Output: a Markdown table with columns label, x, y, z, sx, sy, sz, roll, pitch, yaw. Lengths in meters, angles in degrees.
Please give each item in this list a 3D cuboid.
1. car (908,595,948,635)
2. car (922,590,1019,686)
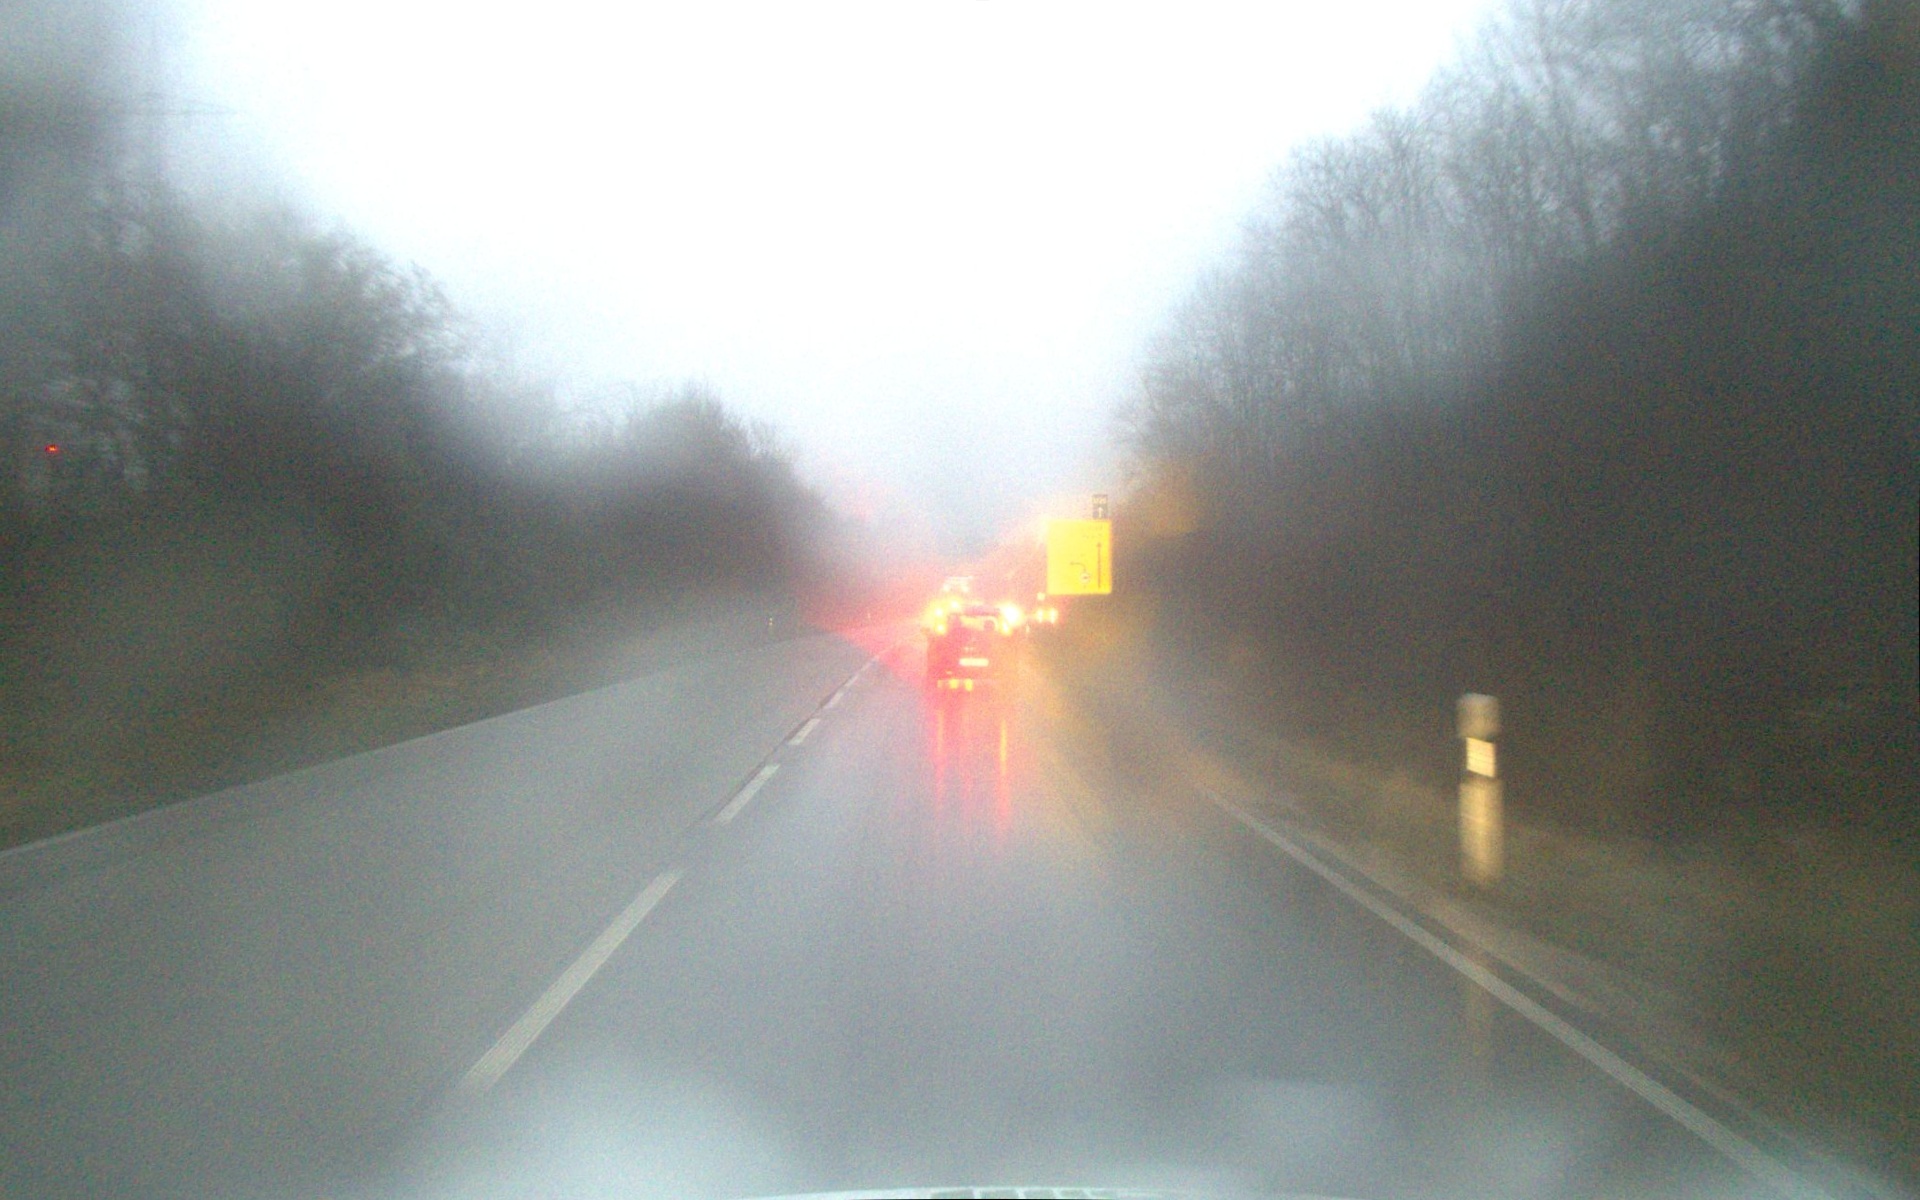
| label | x | y | z | sx | sy | sz | roll | pitch | yaw |
| --- | --- | --- | --- | --- | --- | --- | --- | --- | --- |
| car | -1.359 | 0.615 | 71.730 | 1.692 | 1.672 | 4.000 | 0 | 0 | 0 |
| car | 0.181 | 0.657 | 30.815 | 1.692 | 1.672 | 4.000 | 0 | 0 | 0 |
